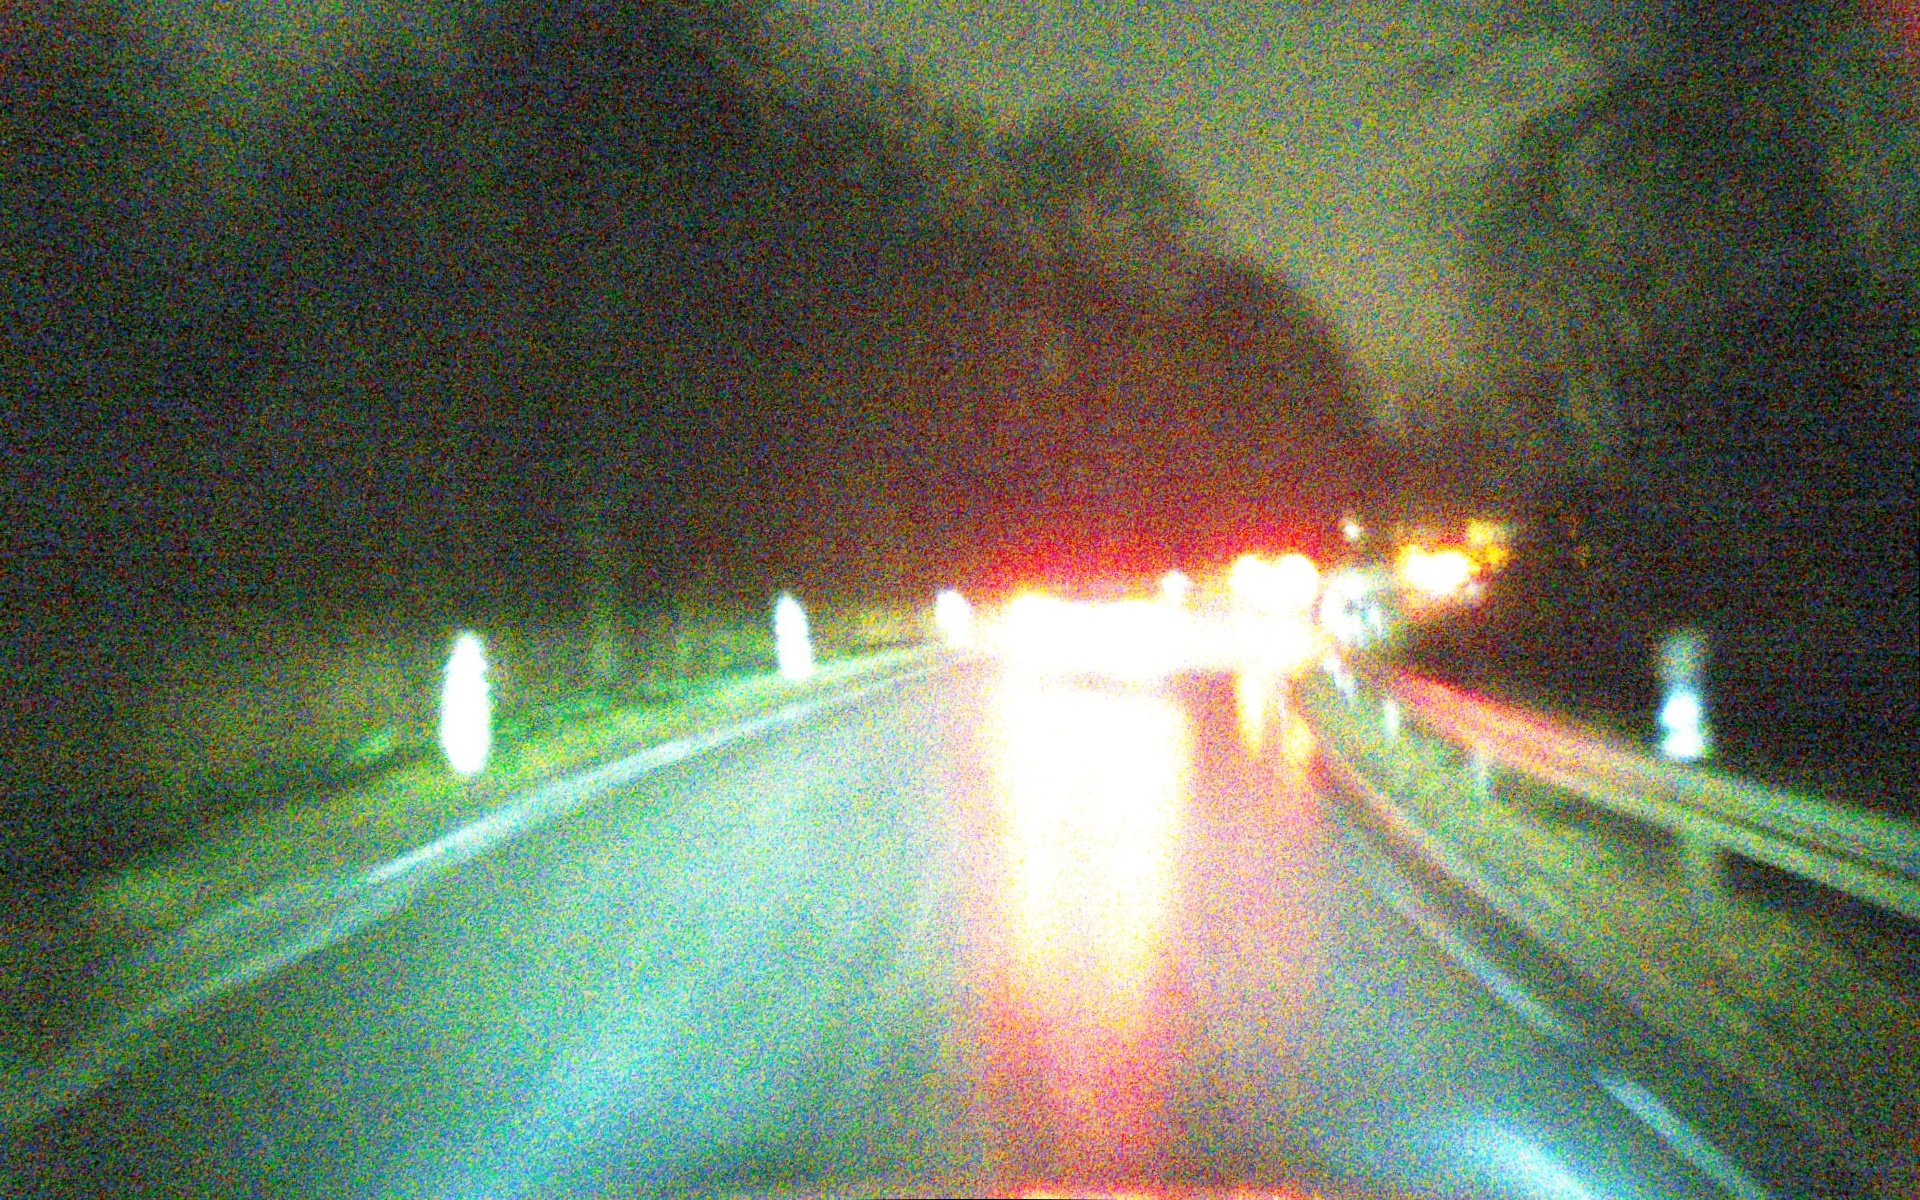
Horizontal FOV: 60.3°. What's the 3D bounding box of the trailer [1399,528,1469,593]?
[{"bbox_3d":[18.221,-1.401,63.223,2.034,2.049,10.651,-3,-1,18],"label":"trailer"}]
